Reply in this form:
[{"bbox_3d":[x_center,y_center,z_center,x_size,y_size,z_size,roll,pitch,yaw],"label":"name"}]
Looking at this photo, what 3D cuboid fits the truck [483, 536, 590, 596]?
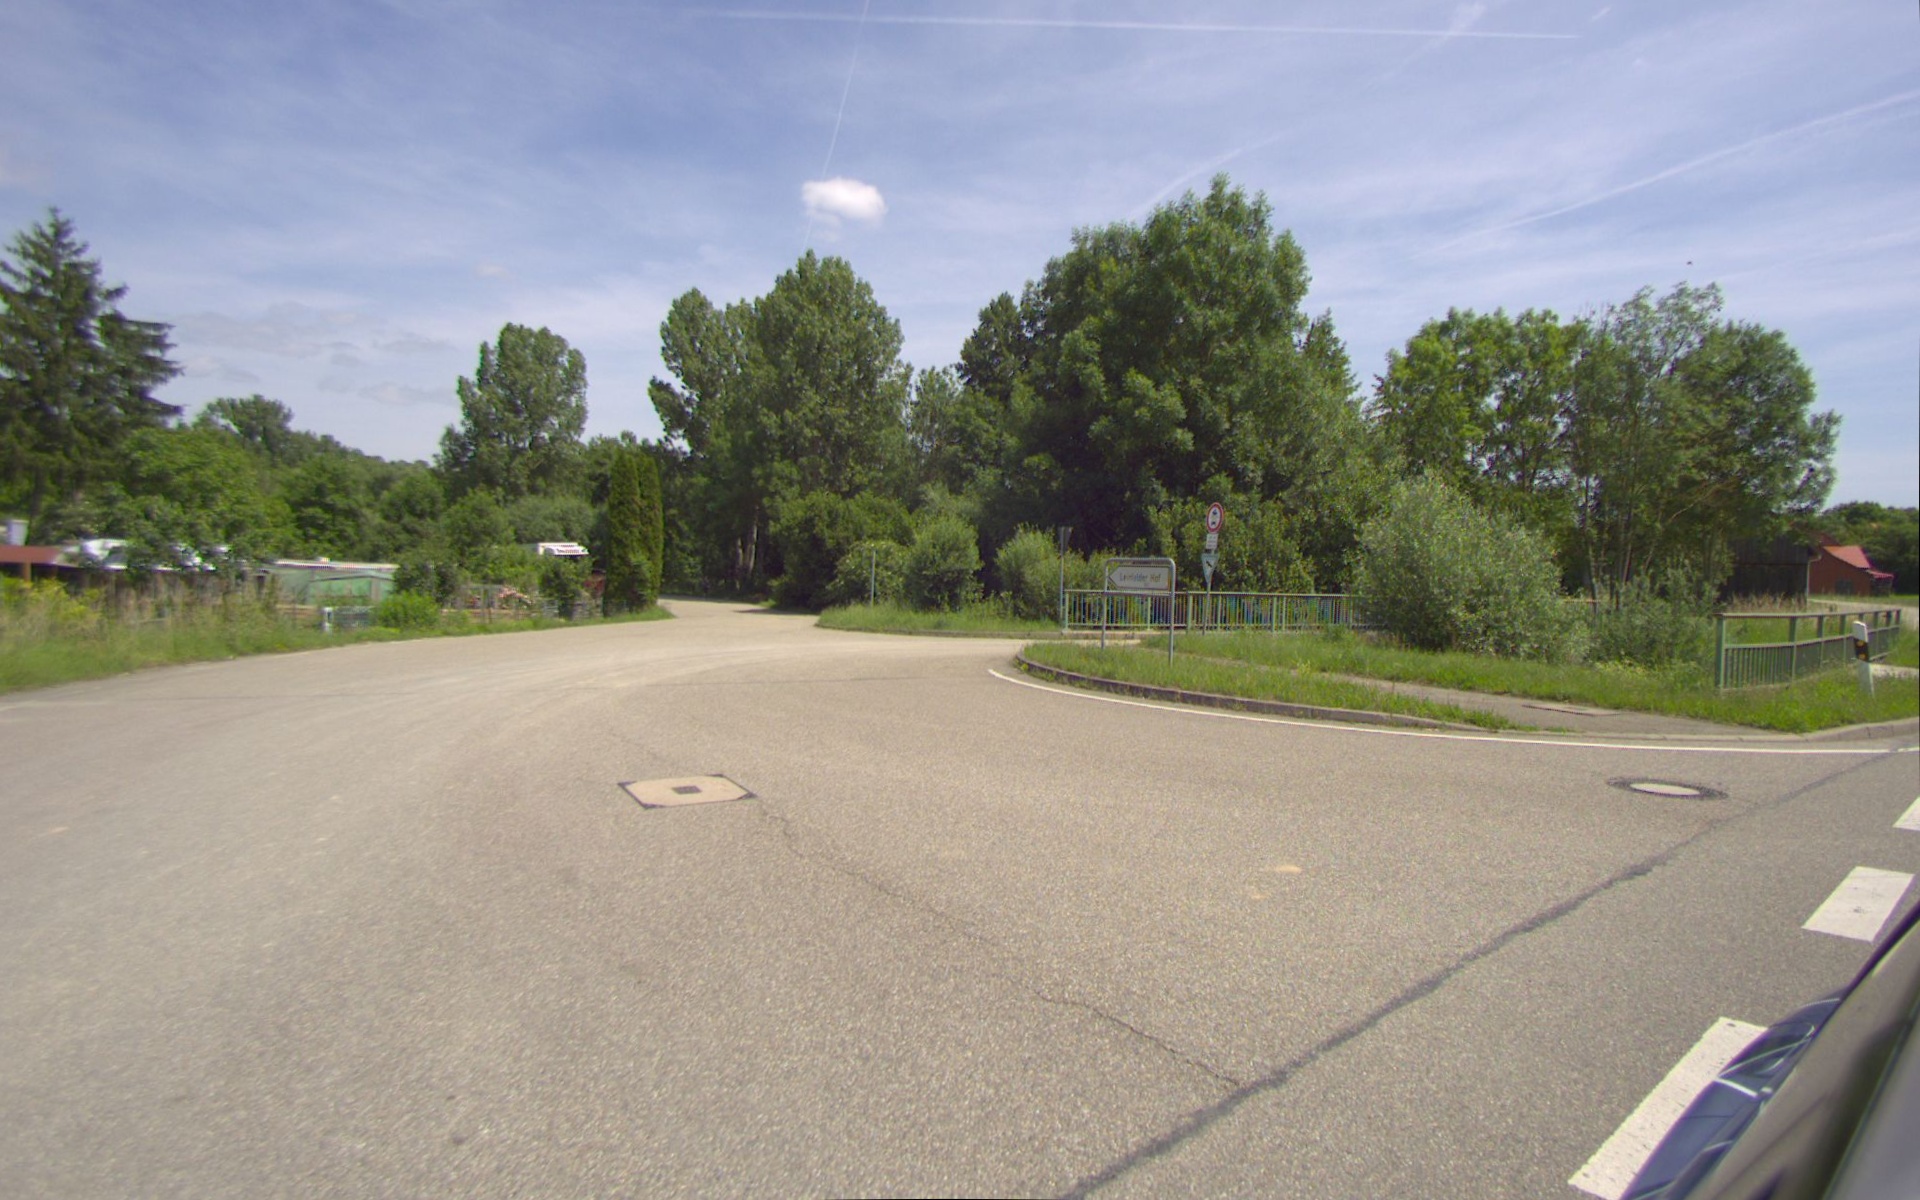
[{"bbox_3d":[-28.539,-2.302,67.822,11.547,3.741,2.344,3,2,45],"label":"truck"}]
